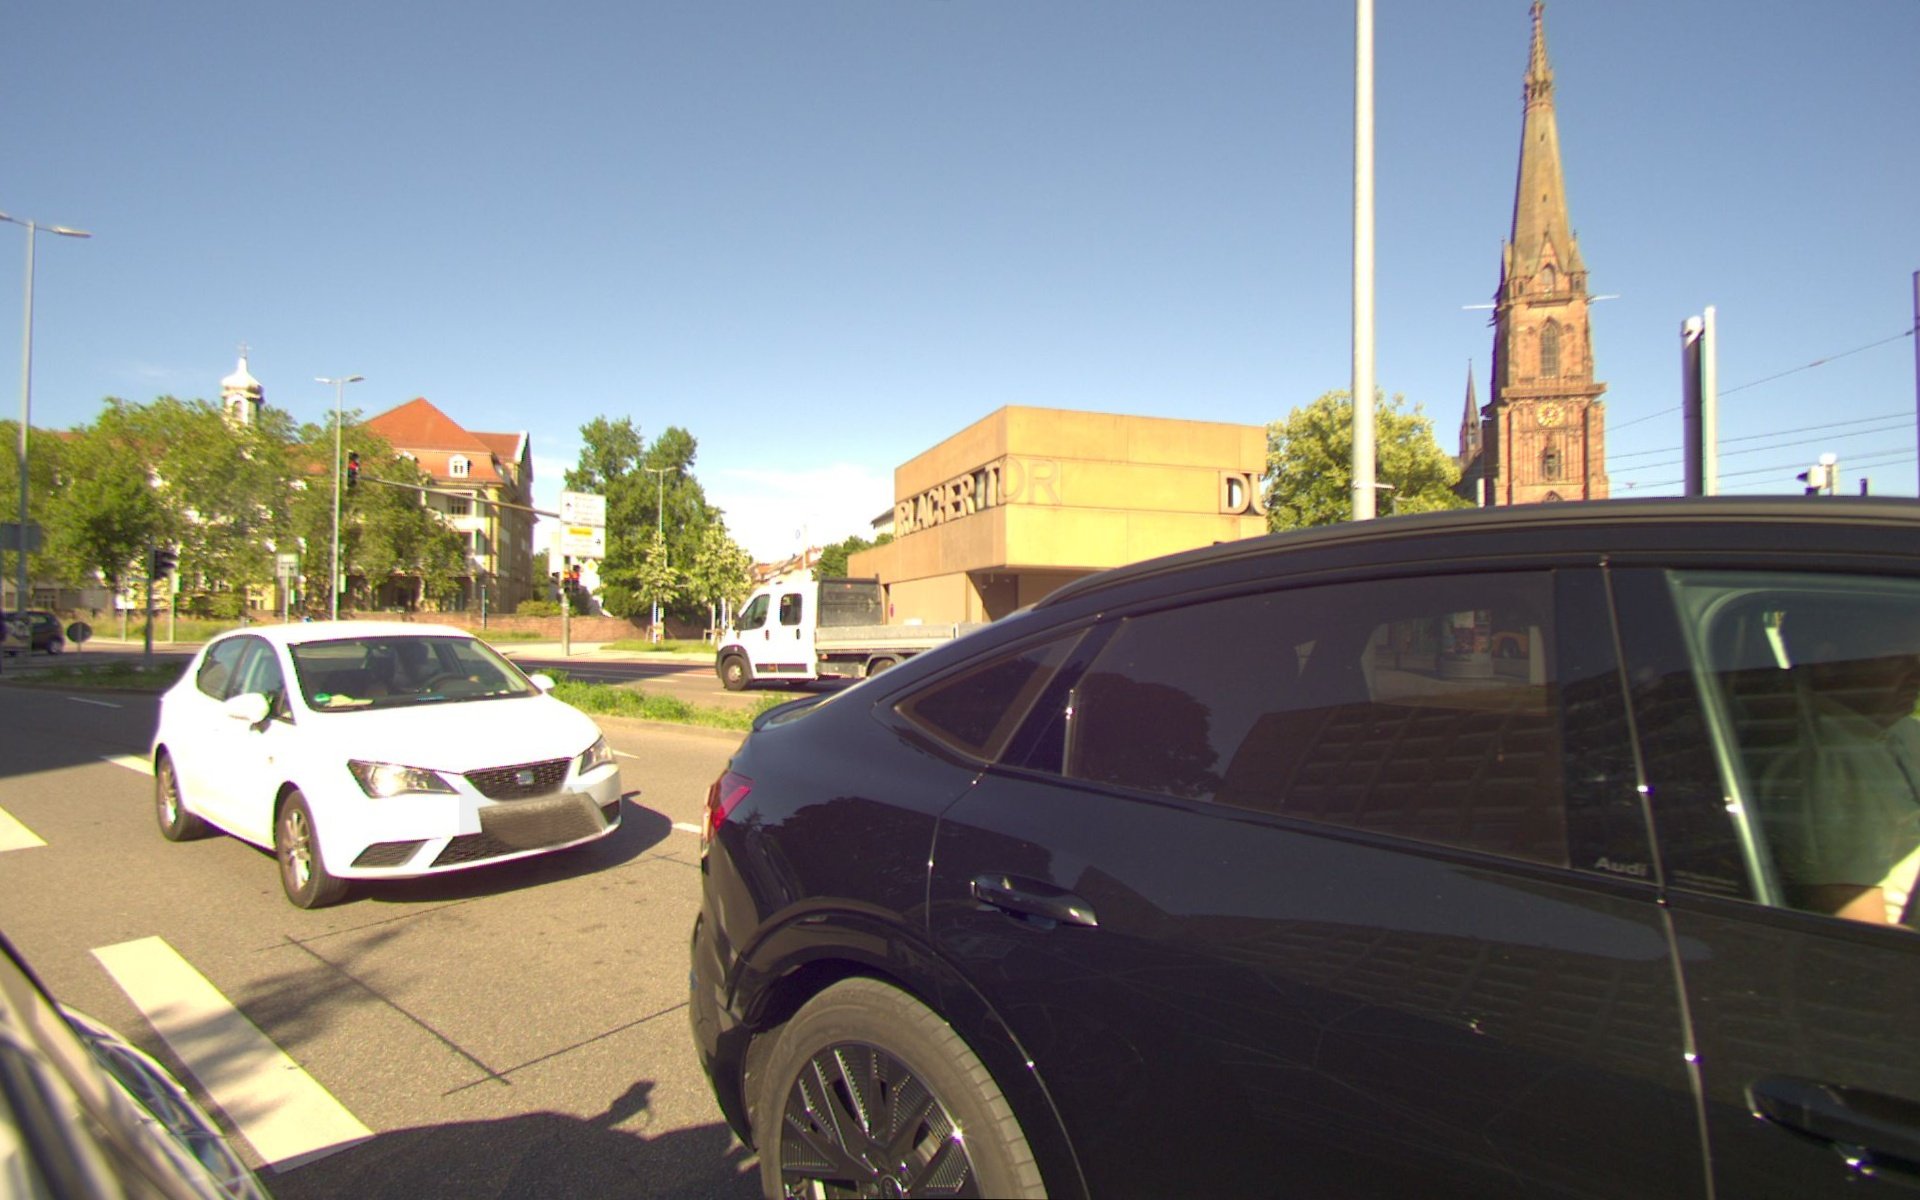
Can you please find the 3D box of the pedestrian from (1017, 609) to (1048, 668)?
[{"bbox_3d":[2.195,1.157,30.684,0.778,1.736,0.597,1,0,-6],"label":"pedestrian"}]

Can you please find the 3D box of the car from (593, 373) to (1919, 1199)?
[{"bbox_3d":[1.465,0.624,1.594,4.375,1.636,1.963,-1,-1,41],"label":"car"}]

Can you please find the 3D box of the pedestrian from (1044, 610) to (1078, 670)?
[{"bbox_3d":[2.993,1.174,30.016,0.749,1.736,0.634,1,0,45],"label":"pedestrian"}]

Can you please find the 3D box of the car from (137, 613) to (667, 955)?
[{"bbox_3d":[-3.605,0.836,6.260,3.734,1.446,1.674,-1,0,41],"label":"car"}]

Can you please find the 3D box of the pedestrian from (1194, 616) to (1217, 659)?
[{"bbox_3d":[8.892,1.364,36.604,0.508,1.521,0.739,1,0,39],"label":"pedestrian"}]

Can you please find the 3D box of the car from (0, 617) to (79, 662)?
[{"bbox_3d":[-33.531,1.390,35.080,1.977,1.484,4.285,-2,-3,9],"label":"car"}]

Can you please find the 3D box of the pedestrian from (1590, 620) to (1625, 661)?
[{"bbox_3d":[22.215,1.391,34.744,0.630,1.404,0.801,0,-1,-5],"label":"pedestrian"}]

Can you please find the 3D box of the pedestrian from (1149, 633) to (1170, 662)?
[{"bbox_3d":[6.837,1.629,34.720,0.501,0.973,0.576,1,0,-13],"label":"pedestrian"}]

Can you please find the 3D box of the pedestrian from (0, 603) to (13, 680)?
[{"bbox_3d":[-23.605,1.000,24.256,0.748,1.846,1.093,0,-1,9],"label":"pedestrian"}]

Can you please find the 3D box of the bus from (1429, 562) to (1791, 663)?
[{"bbox_3d":[24.008,0.621,38.927,2.923,3.240,12.627,1,-2,-18],"label":"bus"}]

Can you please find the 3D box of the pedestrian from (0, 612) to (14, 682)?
[{"bbox_3d":[-22.503,1.091,23.518,0.671,1.624,0.721,1,-2,-39],"label":"pedestrian"}]

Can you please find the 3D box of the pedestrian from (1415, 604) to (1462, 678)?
[{"bbox_3d":[11.679,0.979,24.702,0.778,1.755,0.648,-1,0,-6],"label":"pedestrian"}]

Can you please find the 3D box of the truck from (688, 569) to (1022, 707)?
[{"bbox_3d":[-2.256,0.715,19.995,6.869,2.331,2.194,-1,-2,36],"label":"truck"}]

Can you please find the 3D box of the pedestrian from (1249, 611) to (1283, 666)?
[{"bbox_3d":[9.827,1.229,32.489,0.776,1.736,0.649,1,0,-18],"label":"pedestrian"}]

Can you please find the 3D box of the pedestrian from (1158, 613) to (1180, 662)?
[{"bbox_3d":[7.844,1.413,37.956,0.562,1.789,0.585,-4,-3,38],"label":"pedestrian"}]
